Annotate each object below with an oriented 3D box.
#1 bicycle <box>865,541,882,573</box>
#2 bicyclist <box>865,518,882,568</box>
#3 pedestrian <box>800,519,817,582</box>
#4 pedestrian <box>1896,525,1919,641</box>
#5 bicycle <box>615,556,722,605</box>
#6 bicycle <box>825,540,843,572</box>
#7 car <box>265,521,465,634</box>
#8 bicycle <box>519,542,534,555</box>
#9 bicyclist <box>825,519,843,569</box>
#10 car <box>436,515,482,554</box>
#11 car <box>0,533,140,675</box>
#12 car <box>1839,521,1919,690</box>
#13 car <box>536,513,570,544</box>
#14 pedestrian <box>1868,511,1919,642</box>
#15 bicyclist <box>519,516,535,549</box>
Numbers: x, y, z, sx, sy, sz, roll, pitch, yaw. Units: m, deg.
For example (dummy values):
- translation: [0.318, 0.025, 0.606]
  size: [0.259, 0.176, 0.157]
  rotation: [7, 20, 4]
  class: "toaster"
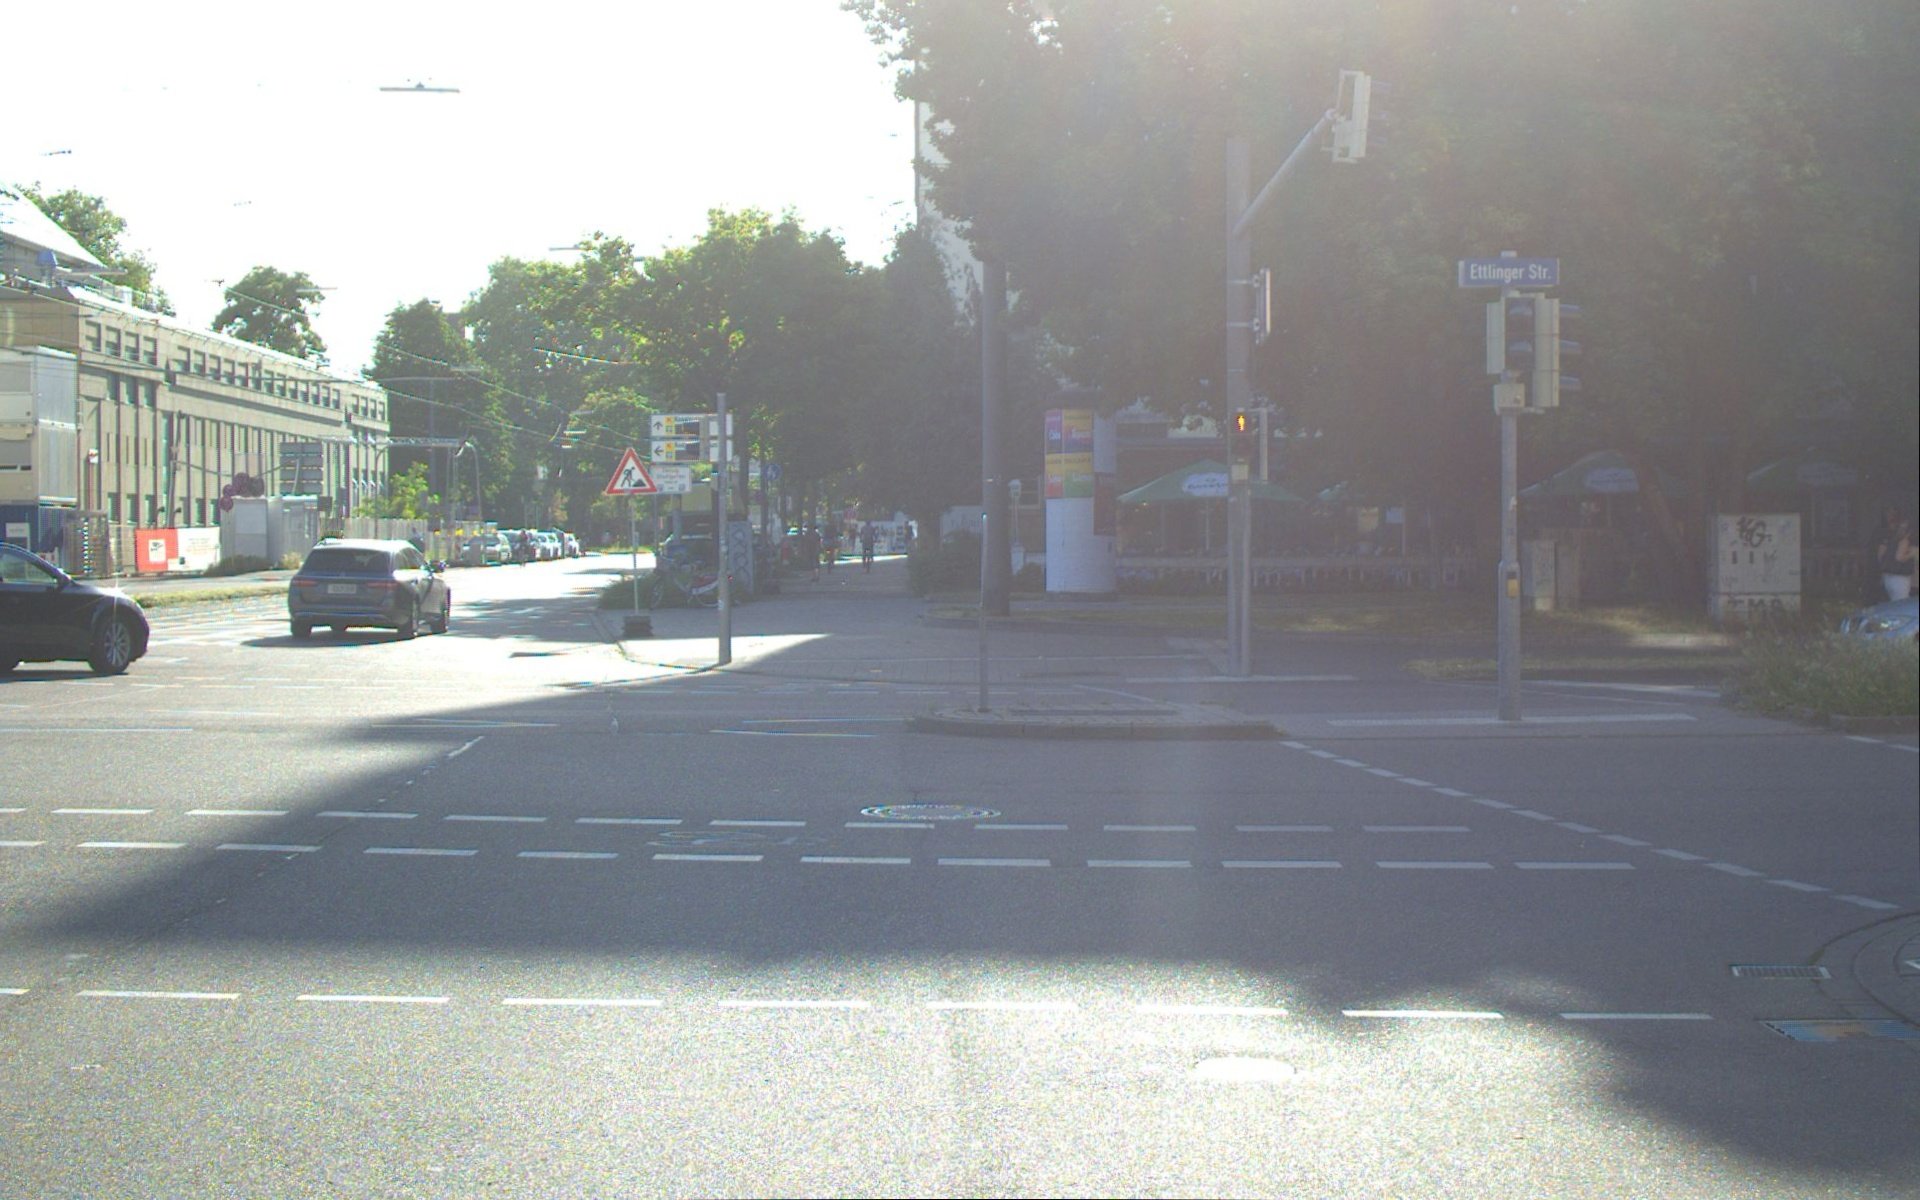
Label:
- translation: [-2.943, -1.484, 117.009]
  size: [0.575, 1.073, 1.831]
  rotation: [0, 1, -1]
  class: "bicycle"
- translation: [-2.936, -1.945, 117.015]
  size: [0.569, 1.685, 0.700]
  rotation: [0, 1, -1]
  class: "bicyclist"
- translation: [-4.334, -1.416, 98.325]
  size: [0.463, 1.807, 0.503]
  rotation: [0, 1, -5]
  class: "pedestrian"
- translation: [12.404, -0.224, 44.528]
  size: [0.439, 1.498, 0.437]
  rotation: [0, 1, 1]
  class: "pedestrian"
- translation: [-5.730, -0.387, 67.489]
  size: [2.018, 0.888, 0.650]
  rotation: [-2, 0, 27]
  class: "bicycle"
- translation: [-4.280, -1.506, 117.183]
  size: [0.575, 1.073, 1.831]
  rotation: [0, 1, -1]
  class: "bicycle"
- translation: [-9.024, -0.380, 52.539]
  size: [1.892, 1.560, 4.807]
  rotation: [3, 1, 3]
  class: "car"
- translation: [-18.023, -2.140, 142.880]
  size: [0.501, 0.513, 1.258]
  rotation: [1, 1, -1]
  class: "bicycle"
- translation: [-4.290, -1.900, 117.116]
  size: [0.569, 1.685, 0.700]
  rotation: [0, 1, -1]
  class: "bicyclist"
- translation: [-22.783, -2.976, 156.452]
  size: [1.692, 1.712, 4.248]
  rotation: [1, 1, -4]
  class: "car"
- translation: [-10.644, 0.030, 35.464]
  size: [1.663, 1.450, 4.425]
  rotation: [1, 1, 30]
  class: "car"
- translation: [10.757, 0.020, 33.421]
  size: [3.993, 1.605, 1.650]
  rotation: [-1, 1, -1]
  class: "car"
- translation: [-23.025, -4.044, 194.698]
  size: [1.692, 1.712, 4.248]
  rotation: [1, 1, -4]
  class: "car"
- translation: [12.002, -0.304, 44.029]
  size: [0.583, 1.657, 0.514]
  rotation: [1, 2, 2]
  class: "pedestrian"
- translation: [-17.998, -2.796, 142.935]
  size: [0.596, 1.372, 0.638]
  rotation: [1, 0, -2]
  class: "bicyclist"
